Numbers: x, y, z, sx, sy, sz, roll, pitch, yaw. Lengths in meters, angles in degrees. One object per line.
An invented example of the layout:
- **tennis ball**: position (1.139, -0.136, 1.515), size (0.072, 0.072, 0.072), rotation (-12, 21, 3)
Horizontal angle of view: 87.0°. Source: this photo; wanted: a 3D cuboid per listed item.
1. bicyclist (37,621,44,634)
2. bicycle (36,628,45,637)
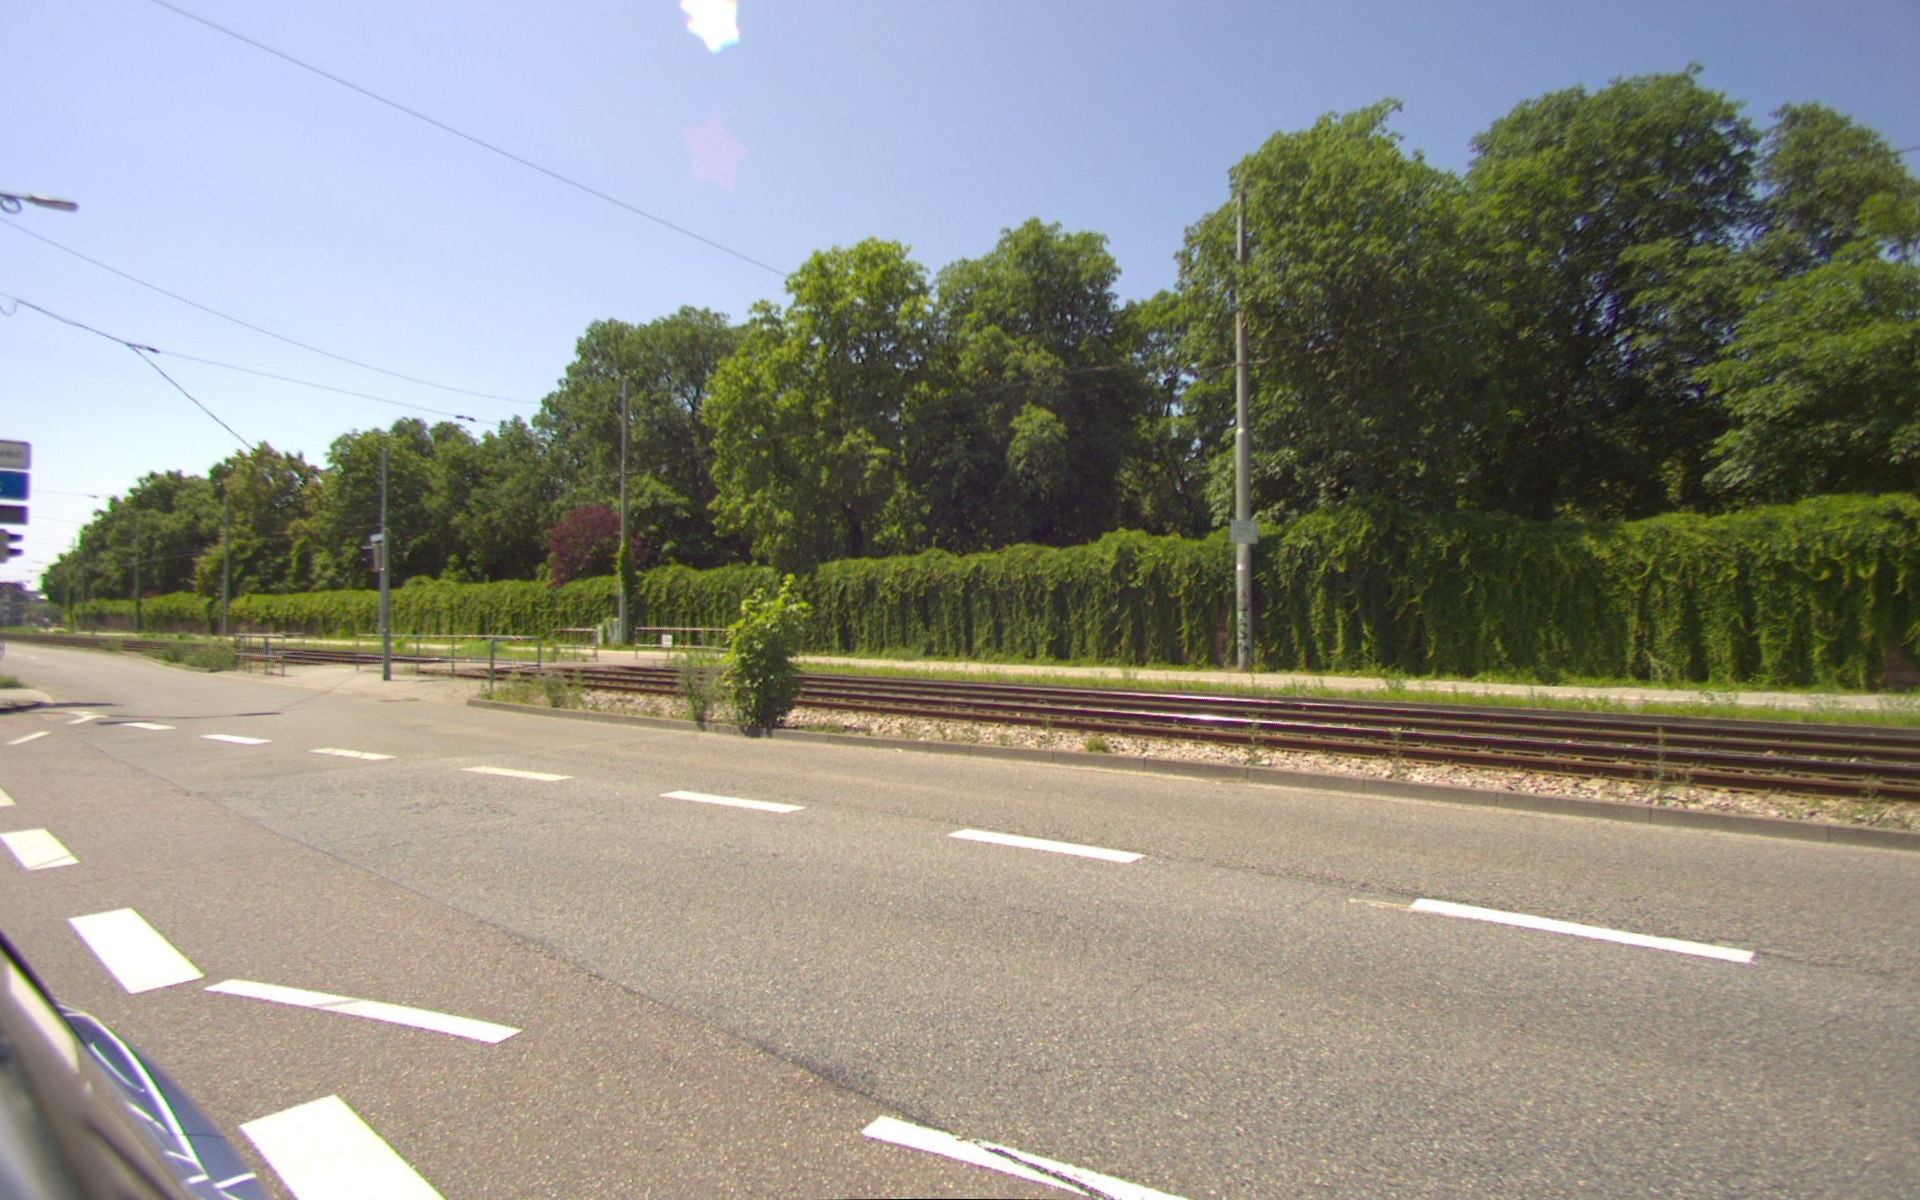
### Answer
- **bicyclist**: position (-110.856, 3.304, 122.003), size (0.769, 1.624, 0.477), rotation (-1, 0, 43)
- **bicycle**: position (-110.857, 3.872, 122.039), size (1.978, 1.063, 0.609), rotation (-1, 0, 43)
